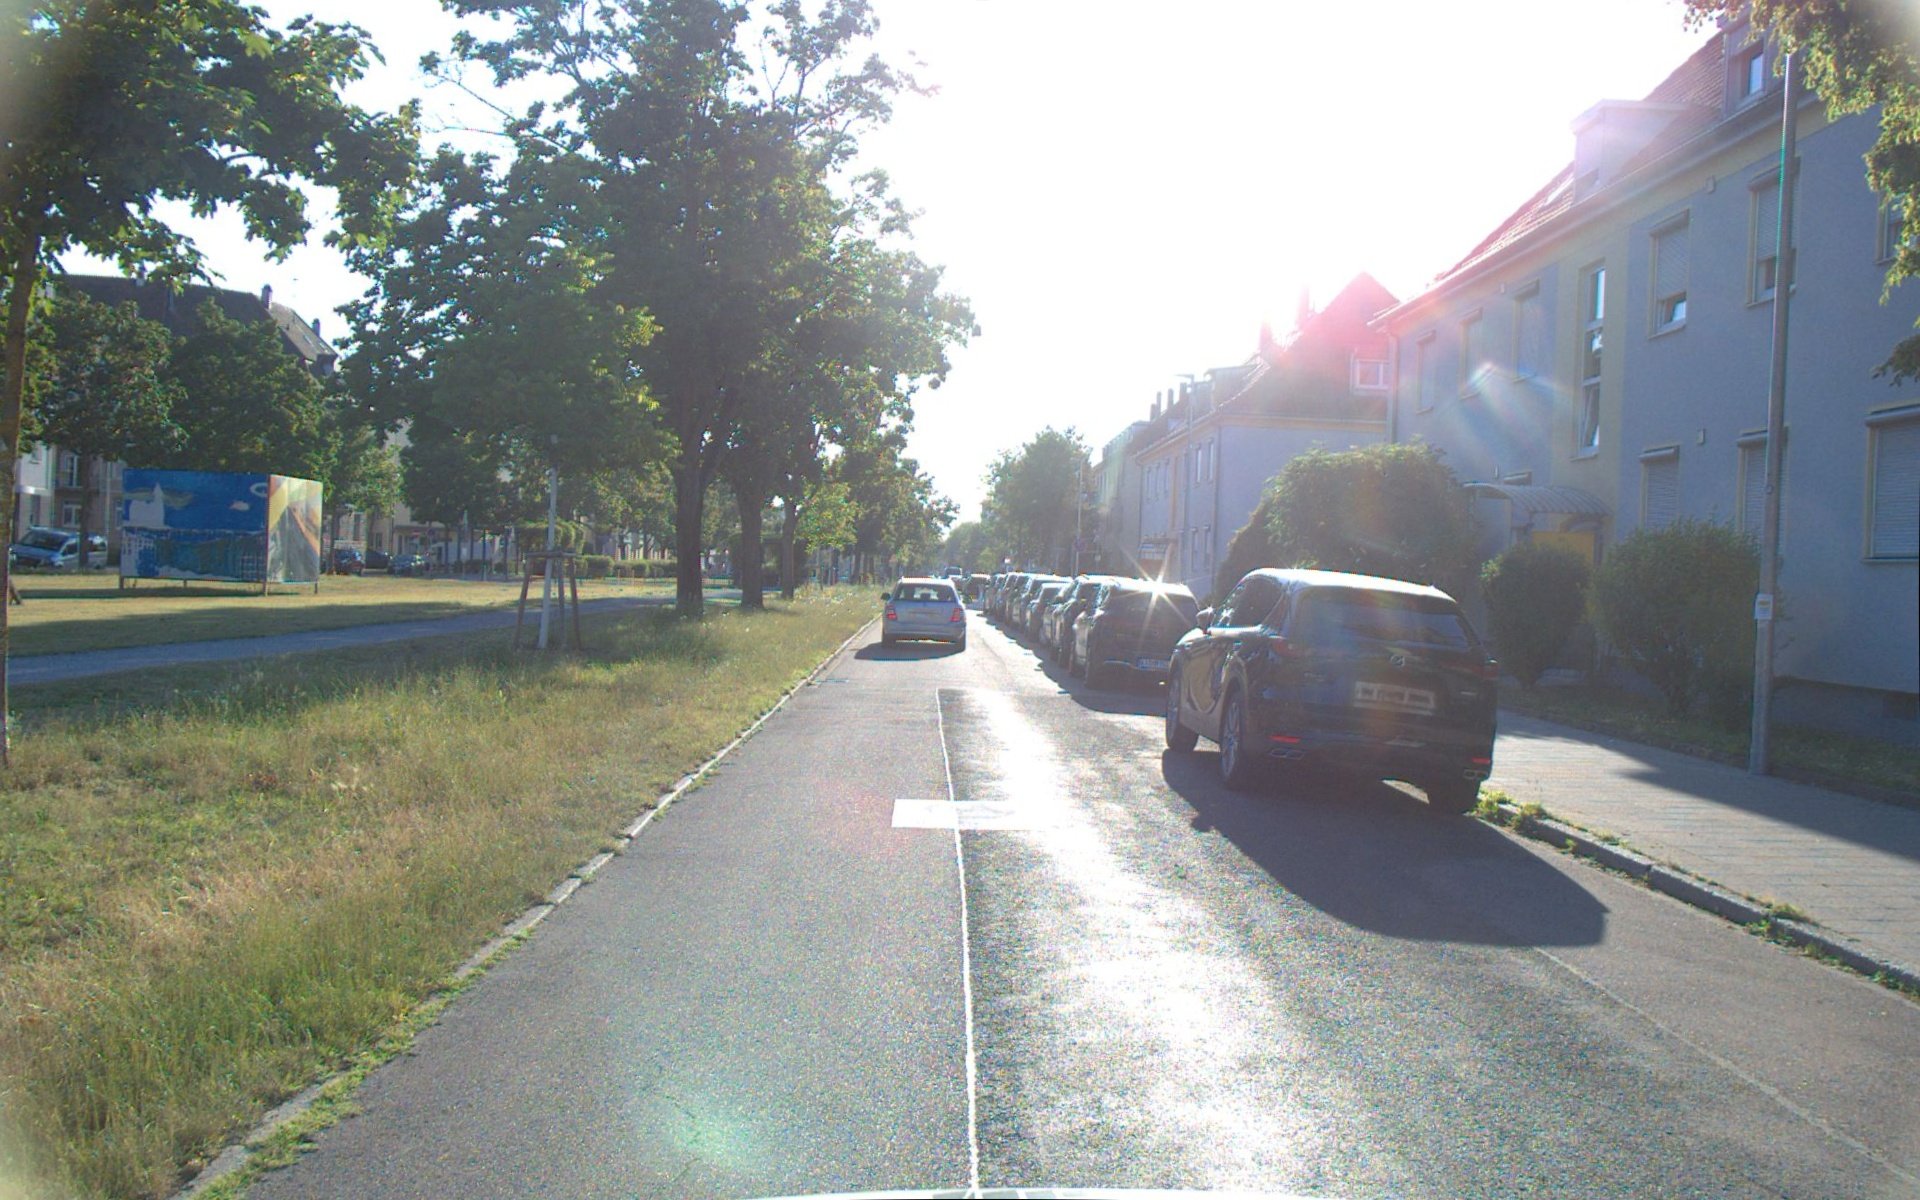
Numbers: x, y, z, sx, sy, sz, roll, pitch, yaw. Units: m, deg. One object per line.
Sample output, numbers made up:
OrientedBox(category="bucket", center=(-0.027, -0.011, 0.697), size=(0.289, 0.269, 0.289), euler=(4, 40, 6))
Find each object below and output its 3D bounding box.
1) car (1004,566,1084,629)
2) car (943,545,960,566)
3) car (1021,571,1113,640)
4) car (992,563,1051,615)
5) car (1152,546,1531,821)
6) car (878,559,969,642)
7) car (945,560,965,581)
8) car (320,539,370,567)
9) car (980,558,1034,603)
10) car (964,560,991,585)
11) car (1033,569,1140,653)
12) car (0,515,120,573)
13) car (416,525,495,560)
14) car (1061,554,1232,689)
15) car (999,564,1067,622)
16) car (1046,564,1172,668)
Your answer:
OrientedBox(category="car", center=(2.304, -0.113, 46.644), size=(1.691, 1.588, 4.414), euler=(3, 1, -4))
OrientedBox(category="car", center=(-0.964, -5.022, 188.152), size=(1.823, 2.231, 5.070), euler=(2, 1, -1))
OrientedBox(category="car", center=(2.617, 0.088, 41.482), size=(1.953, 1.487, 4.562), euler=(4, 1, 0))
OrientedBox(category="car", center=(2.114, -0.410, 57.886), size=(1.741, 1.671, 4.755), euler=(2, 1, -1))
OrientedBox(category="car", center=(2.911, 0.542, 13.872), size=(1.796, 1.761, 5.031), euler=(4, 1, -2))
OrientedBox(category="car", center=(-0.741, -0.029, 34.762), size=(1.786, 1.593, 4.000), euler=(1, 2, -1))
OrientedBox(category="car", center=(-0.531, -3.012, 170.129), size=(1.948, 2.058, 4.000), euler=(2, 1, -1))
OrientedBox(category="car", center=(-40.304, -3.070, 108.494), size=(1.610, 1.737, 4.294), euler=(-2, 0, 0))
OrientedBox(category="car", center=(1.903, -0.842, 68.073), size=(1.683, 1.667, 4.560), euler=(4, 1, -5))
OrientedBox(category="car", center=(1.185, -1.828, 111.825), size=(1.686, 1.624, 4.000), euler=(1, 0, -1))
OrientedBox(category="car", center=(2.728, 0.200, 36.538), size=(1.694, 1.574, 4.206), euler=(6, 0, -3))
OrientedBox(category="car", center=(-34.261, -2.090, 63.086), size=(1.979, 2.036, 5.367), euler=(-2, 0, -4))
OrientedBox(category="car", center=(-43.367, -4.910, 142.230), size=(6.232, 2.767, 1.982), euler=(1, 1, -32))
OrientedBox(category="car", center=(2.760, 0.235, 25.567), size=(1.894, 1.750, 4.621), euler=(5, 1, -1))
OrientedBox(category="car", center=(2.262, -0.239, 52.453), size=(1.730, 1.663, 4.763), euler=(3, 1, -2))
OrientedBox(category="car", center=(2.736, 0.222, 31.342), size=(1.816, 1.686, 4.820), euler=(3, 2, -1))
